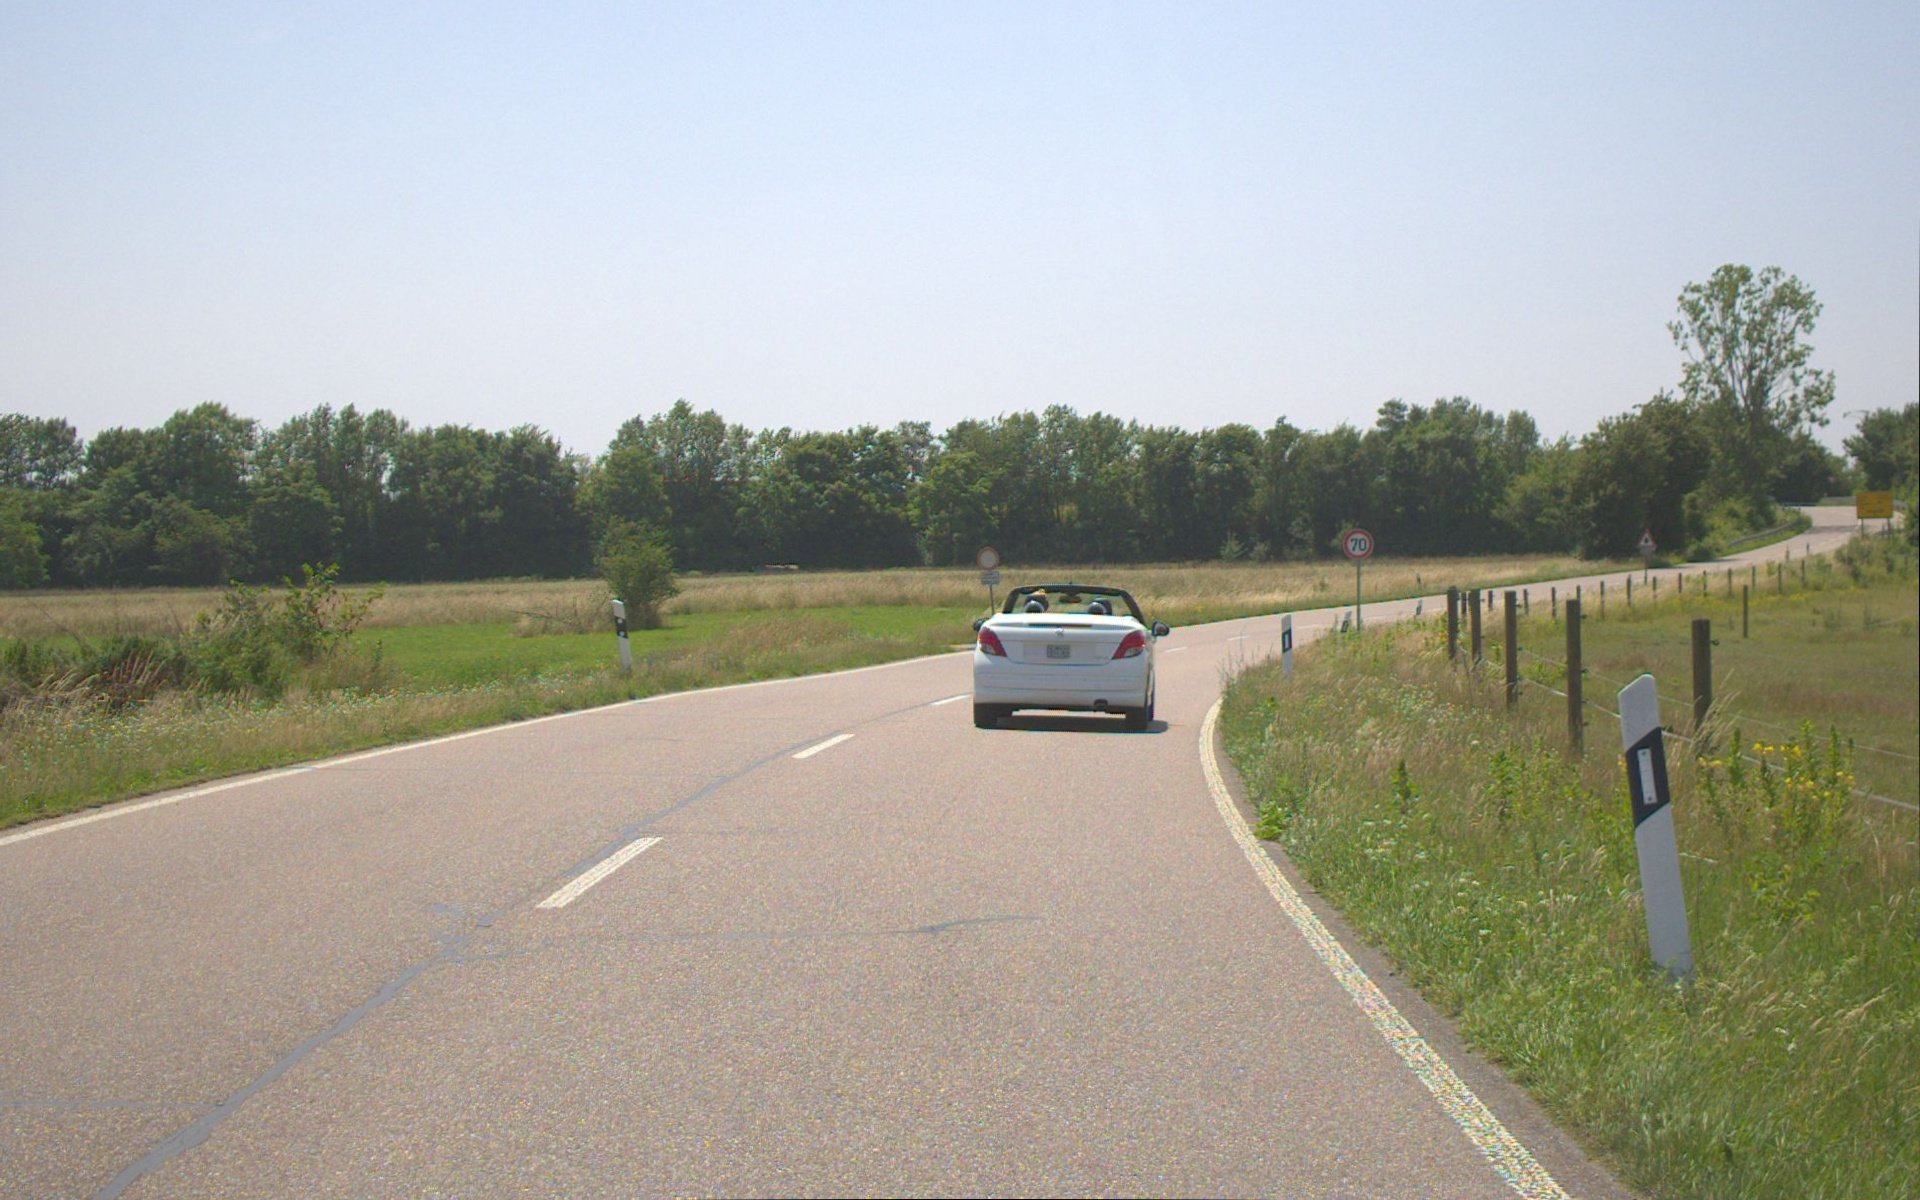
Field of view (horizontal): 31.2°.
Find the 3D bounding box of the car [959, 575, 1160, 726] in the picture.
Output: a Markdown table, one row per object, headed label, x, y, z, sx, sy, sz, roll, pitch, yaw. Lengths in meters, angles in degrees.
| label | x | y | z | sx | sy | sz | roll | pitch | yaw |
| --- | --- | --- | --- | --- | --- | --- | --- | --- | --- |
| car | 1.045 | 0.471 | 34.280 | 1.851 | 1.375 | 3.999 | 1 | 0 | 3 |
